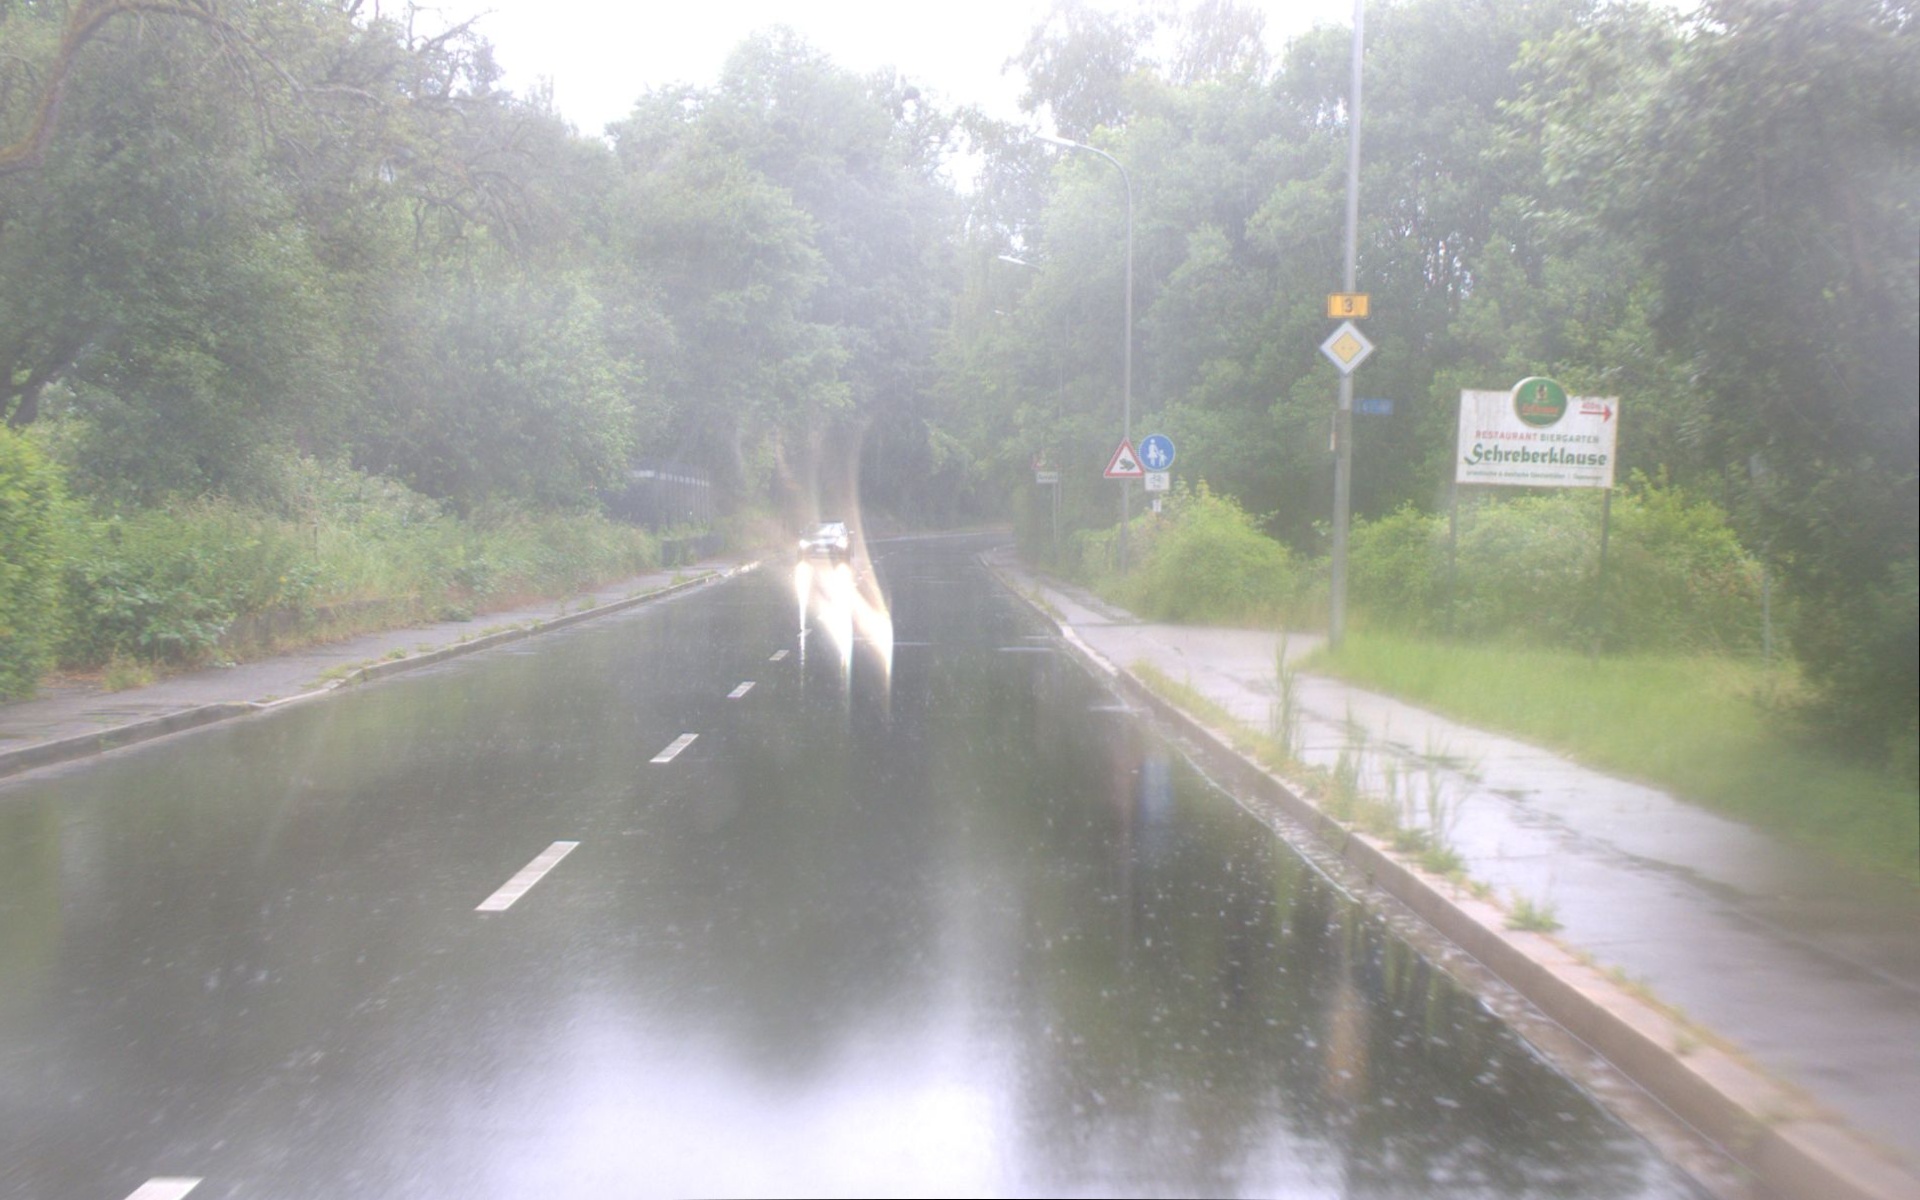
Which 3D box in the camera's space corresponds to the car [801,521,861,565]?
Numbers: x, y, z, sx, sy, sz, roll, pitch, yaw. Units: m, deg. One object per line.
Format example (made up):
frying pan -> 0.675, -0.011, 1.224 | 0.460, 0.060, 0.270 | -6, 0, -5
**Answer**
car -> -4.564, -2.042, 122.429 | 1.993, 1.449, 4.428 | 1, 2, 0
